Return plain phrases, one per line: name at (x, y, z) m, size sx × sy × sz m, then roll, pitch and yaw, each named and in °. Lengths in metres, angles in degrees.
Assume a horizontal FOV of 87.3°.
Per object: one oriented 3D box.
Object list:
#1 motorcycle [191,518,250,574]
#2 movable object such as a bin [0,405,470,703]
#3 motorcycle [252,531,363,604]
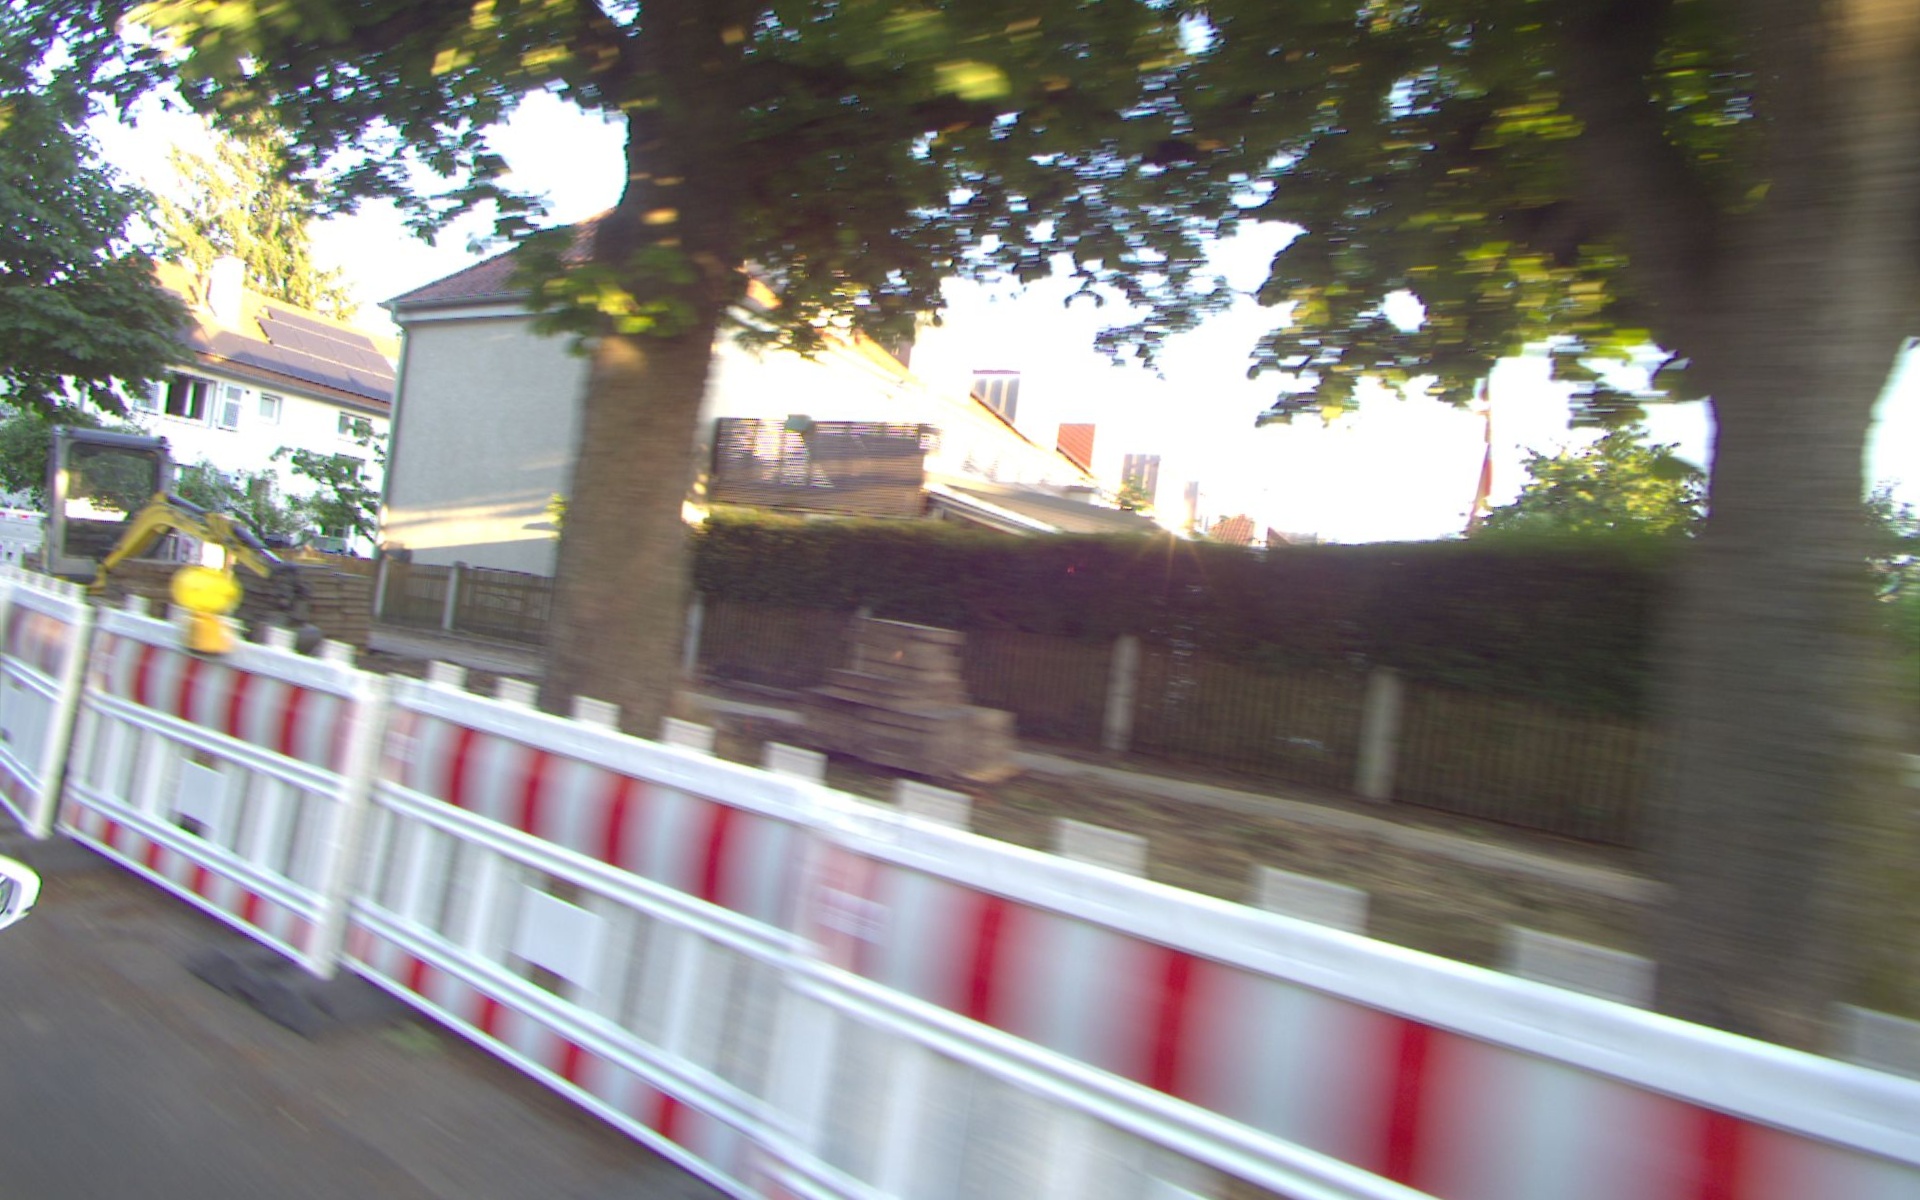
motorcycle at (-16.472, -1.184, 22.438) m, size 0.574 × 1.118 × 1.836 m, roll 9°, pitch -2°, yaw -25°
movable object such as a bin at (-8.338, -0.510, 10.871) m, size 5.105 × 2.430 × 2.637 m, roll 8°, pitch -2°, yaw 26°
motorcycle at (-15.893, -0.770, 24.551) m, size 2.048 × 1.433 × 0.596 m, roll 9°, pitch -1°, yaw -12°
